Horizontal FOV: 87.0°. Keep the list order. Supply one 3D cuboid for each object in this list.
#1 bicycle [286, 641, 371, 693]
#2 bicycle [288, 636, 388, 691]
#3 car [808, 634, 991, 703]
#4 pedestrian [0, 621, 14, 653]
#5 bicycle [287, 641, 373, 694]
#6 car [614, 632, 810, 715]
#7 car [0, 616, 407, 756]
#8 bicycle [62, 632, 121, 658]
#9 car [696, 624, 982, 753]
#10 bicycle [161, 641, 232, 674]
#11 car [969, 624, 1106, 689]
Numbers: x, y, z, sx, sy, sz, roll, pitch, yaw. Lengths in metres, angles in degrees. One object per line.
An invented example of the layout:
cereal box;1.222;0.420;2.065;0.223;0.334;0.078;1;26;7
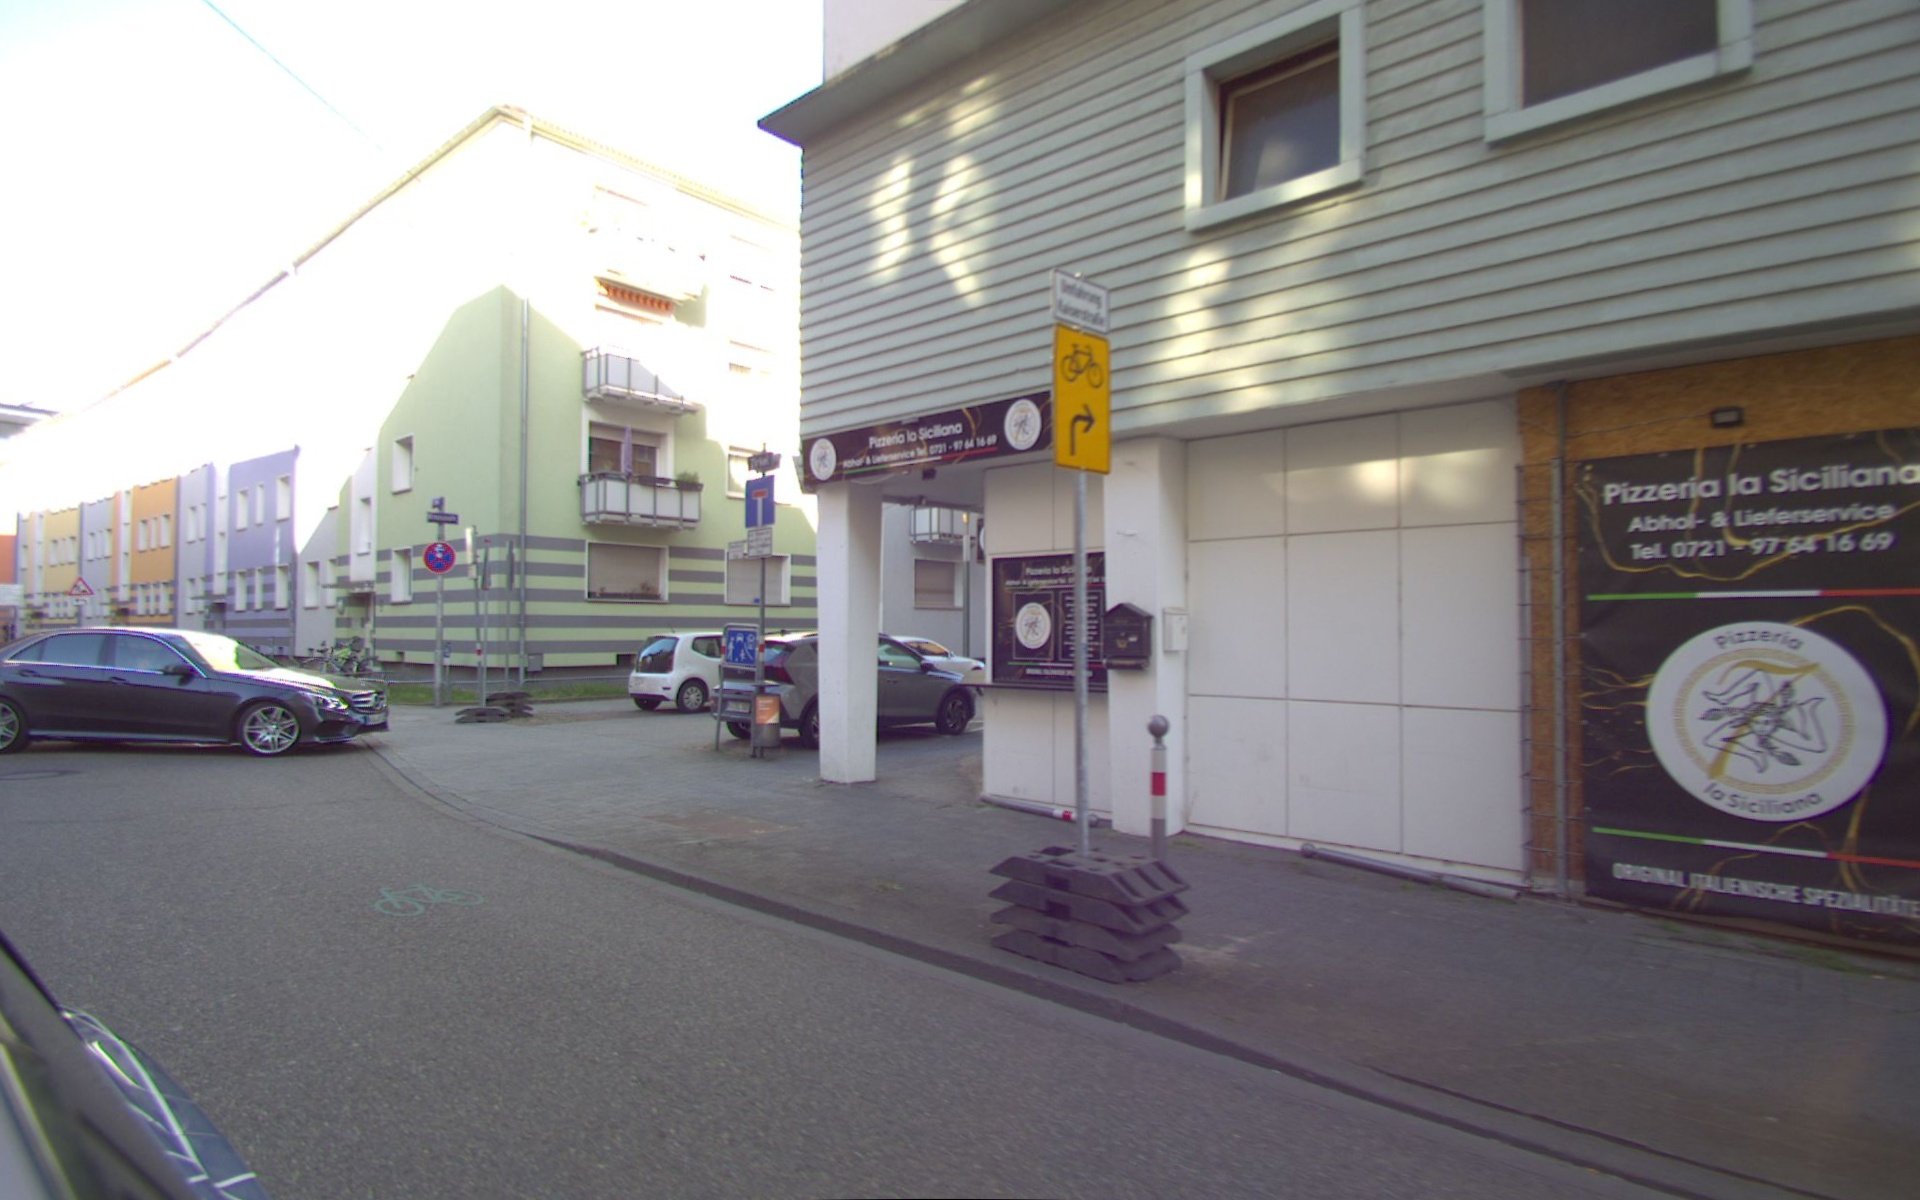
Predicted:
bicycle;-15.544;1.632;24.943;0.387;1.109;1.719;-2;1;34
bicycle;-14.401;1.450;23.458;0.749;1.109;1.797;-2;1;41
car;-1.284;1.497;23.165;1.758;1.408;4.271;-1;-2;40
pedestrian;-50.405;1.965;53.424;0.447;1.663;0.605;-1;-2;35
bicycle;-15.293;1.622;24.614;0.387;1.109;1.719;-2;1;34
car;-4.698;1.333;19.477;1.724;1.448;3.300;-2;-2;40
car;-9.413;0.973;12.110;4.600;1.490;1.788;0;0;-4
bicycle;-37.433;1.924;43.639;0.653;0.990;1.786;-1;2;38
car;-1.552;1.113;14.126;1.691;1.531;3.892;-2;-2;40
bicycle;-25.137;1.884;33.348;0.388;0.953;1.780;-2;1;41
car;2.187;1.519;27.691;1.757;1.623;4.094;-3;-3;38
